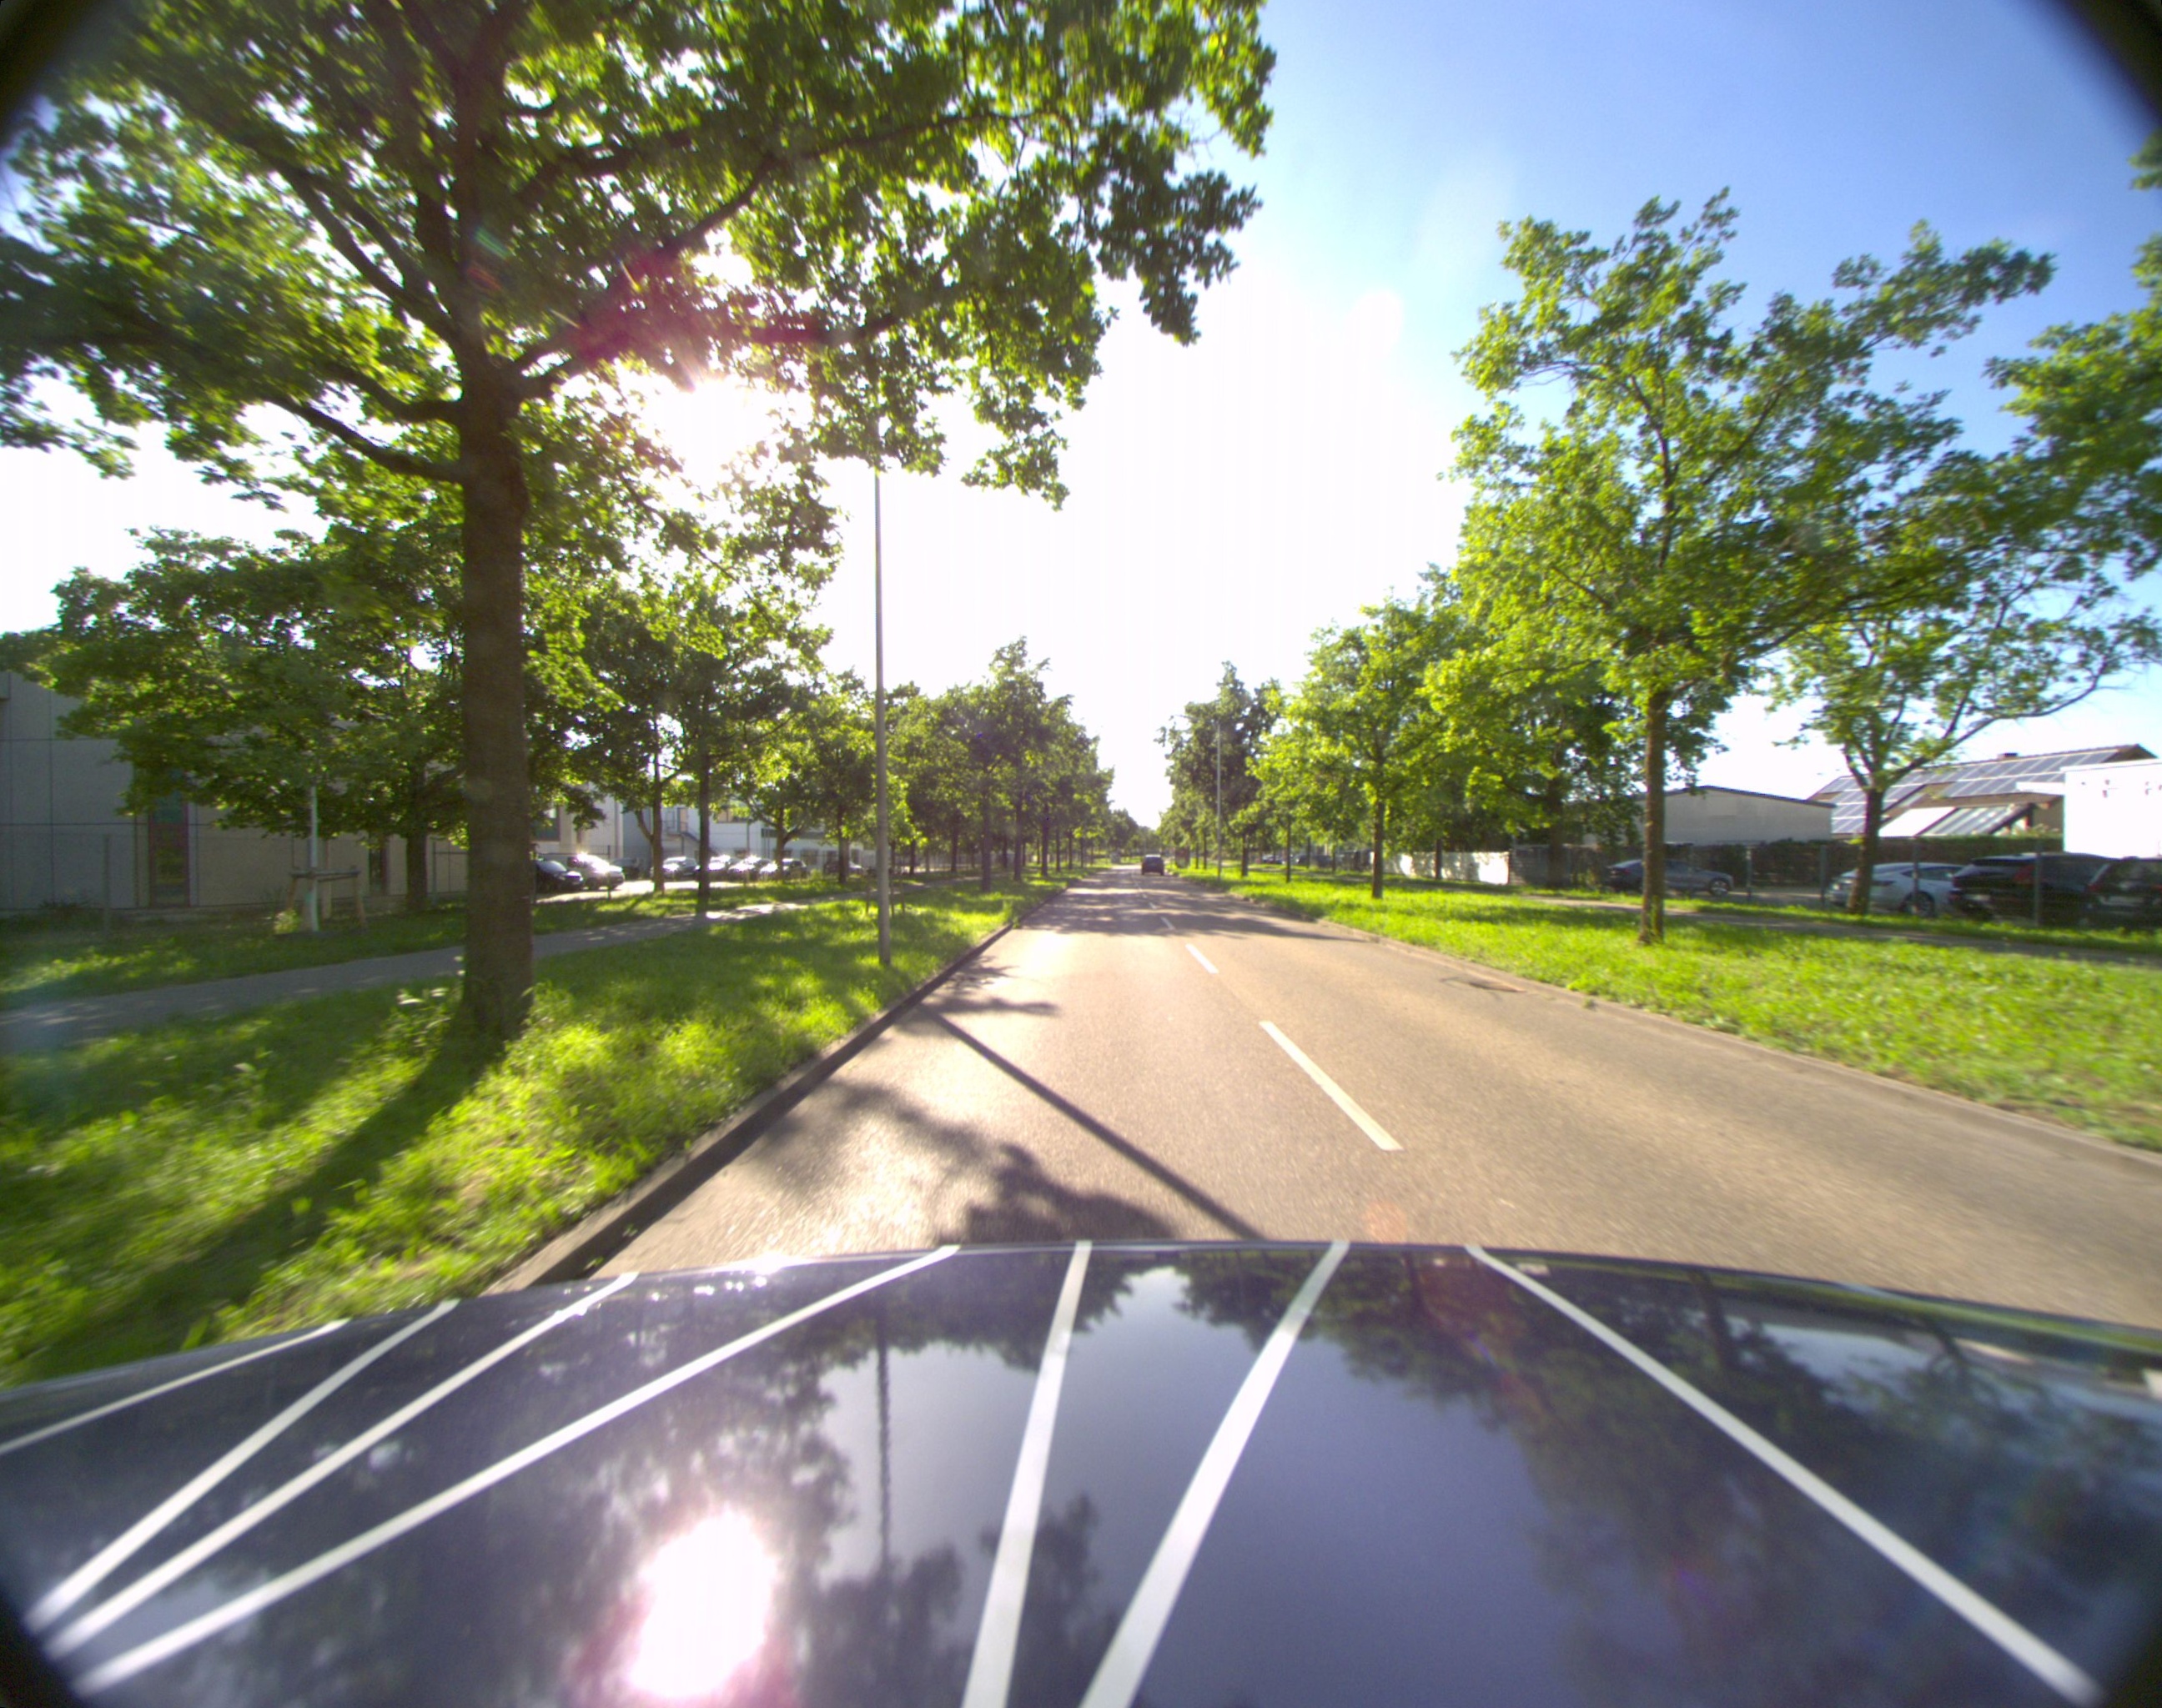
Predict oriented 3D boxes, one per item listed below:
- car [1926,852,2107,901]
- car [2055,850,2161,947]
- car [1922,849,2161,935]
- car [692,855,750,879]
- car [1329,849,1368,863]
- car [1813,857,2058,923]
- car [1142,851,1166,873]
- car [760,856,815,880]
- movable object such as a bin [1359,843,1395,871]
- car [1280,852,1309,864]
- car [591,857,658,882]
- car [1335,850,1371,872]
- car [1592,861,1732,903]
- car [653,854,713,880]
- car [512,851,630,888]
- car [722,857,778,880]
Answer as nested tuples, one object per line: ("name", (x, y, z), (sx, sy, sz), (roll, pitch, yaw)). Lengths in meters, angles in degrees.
("car", (32.623, 0.754, 26.583), (3.996, 1.510, 1.751), (-2, 1, 4))
("car", (22.254, 0.788, 14.719), (3.996, 1.732, 2.000), (-2, 1, 4))
("car", (22.606, 0.839, 17.610), (3.996, 1.736, 1.862), (-2, 1, 4))
("car", (-26.124, 0.911, 55.269), (1.998, 1.663, 4.456), (0, 0, 1))
("car", (39.176, 0.248, 111.217), (5.038, 1.827, 2.003), (-2, 1, 27))
("car", (22.867, 0.934, 20.473), (4.320, 1.510, 1.862), (-2, 1, 4))
("car", (5.961, 0.632, 62.403), (1.772, 1.663, 4.199), (1, 1, 2))
("car", (-20.929, 0.968, 54.323), (1.998, 1.597, 4.715), (0, 1, 1))
("movable object such as a bin", (27.878, 0.213, 71.701), (1.998, 2.501, 4.237), (-2, 1, 5))
("car", (32.040, 0.598, 113.917), (3.885, 1.493, 2.003), (-2, 1, 25))
("car", (-33.739, 1.081, 56.302), (1.698, 1.646, 4.458), (-2, 1, 8))
("car", (27.677, 0.662, 77.441), (1.998, 2.162, 5.673), (-1, 0, 4))
("car", (23.703, 1.117, 31.135), (3.996, 1.510, 2.199), (-2, 1, 4))
("car", (-28.645, 0.892, 54.844), (1.999, 1.663, 4.455), (-2, 1, -2))
("car", (-27.772, 0.841, 41.495), (5.076, 1.948, 1.894), (0, 1, -2))
("car", (-23.781, 0.983, 54.815), (1.998, 1.550, 4.456), (0, 0, 1))
